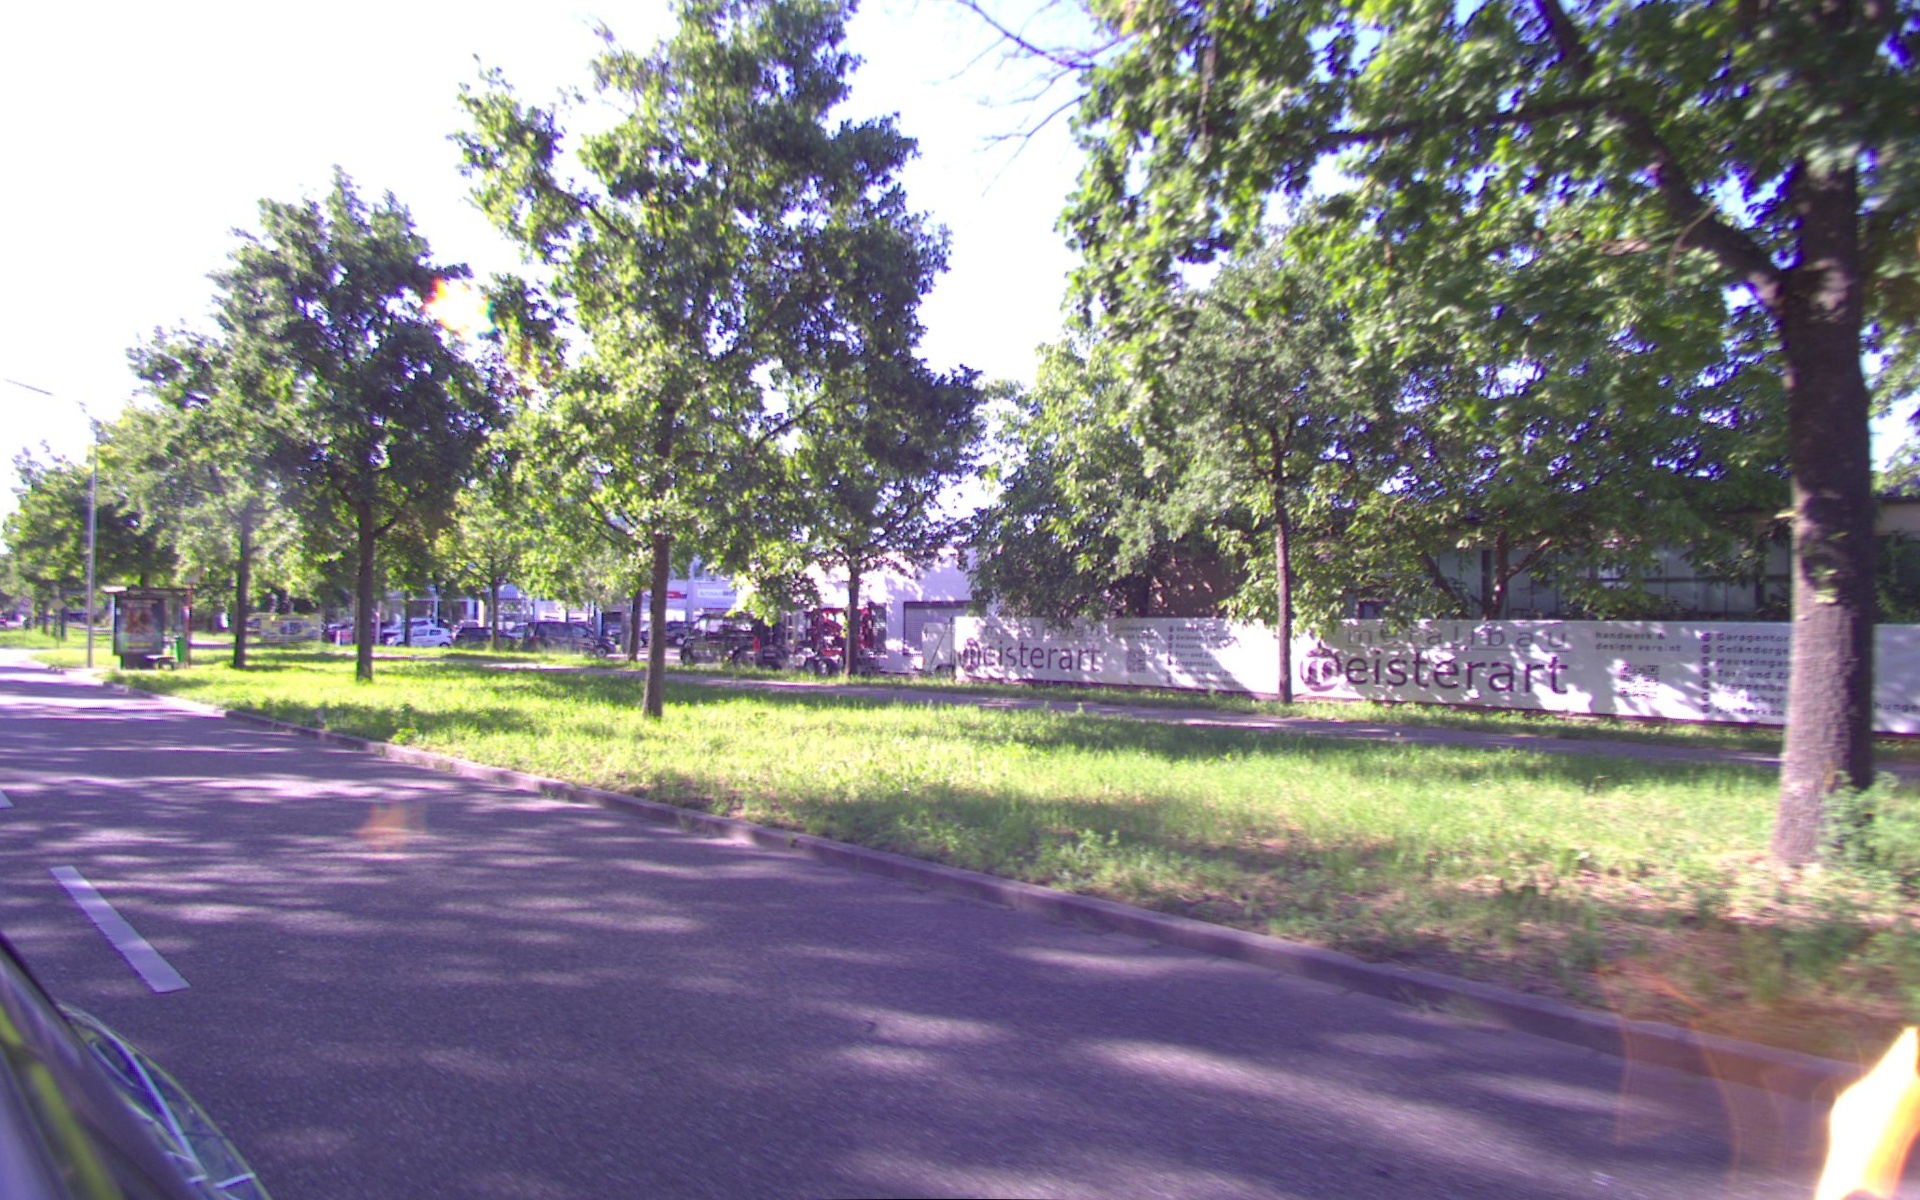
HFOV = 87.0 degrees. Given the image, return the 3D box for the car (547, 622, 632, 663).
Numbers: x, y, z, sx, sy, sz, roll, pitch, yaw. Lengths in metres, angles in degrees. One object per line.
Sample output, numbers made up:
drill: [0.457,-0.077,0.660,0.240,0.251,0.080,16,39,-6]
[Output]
car: [-18.681,2.130,51.214,3.931,2.029,2.006,1,-2,-18]

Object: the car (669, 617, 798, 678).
car: [-8.827,1.763,39.072,5.670,2.191,1.972,-1,-2,42]

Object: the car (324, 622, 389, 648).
car: [-45.756,2.645,76.838,1.984,1.851,3.976,-1,0,18]

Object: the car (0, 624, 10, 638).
car: [-138.398,4.449,145.937,1.969,2.029,4.005,2,-2,-42]

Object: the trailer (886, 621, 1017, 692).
trailer: [-0.313,1.673,31.097,3.965,2.029,1.734,-2,-2,44]

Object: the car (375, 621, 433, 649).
car: [-40.677,2.546,74.182,1.973,1.851,3.998,-1,0,2]

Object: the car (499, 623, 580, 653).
car: [-28.474,2.571,68.536,4.963,1.851,2.007,-1,0,-25]

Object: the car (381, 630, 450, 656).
car: [-34.795,2.735,64.752,3.827,1.513,2.006,-1,0,-28]

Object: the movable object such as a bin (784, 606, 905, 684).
movable object such as a bin: [-4.104,1.507,35.641,4.236,2.535,1.972,-1,0,43]
